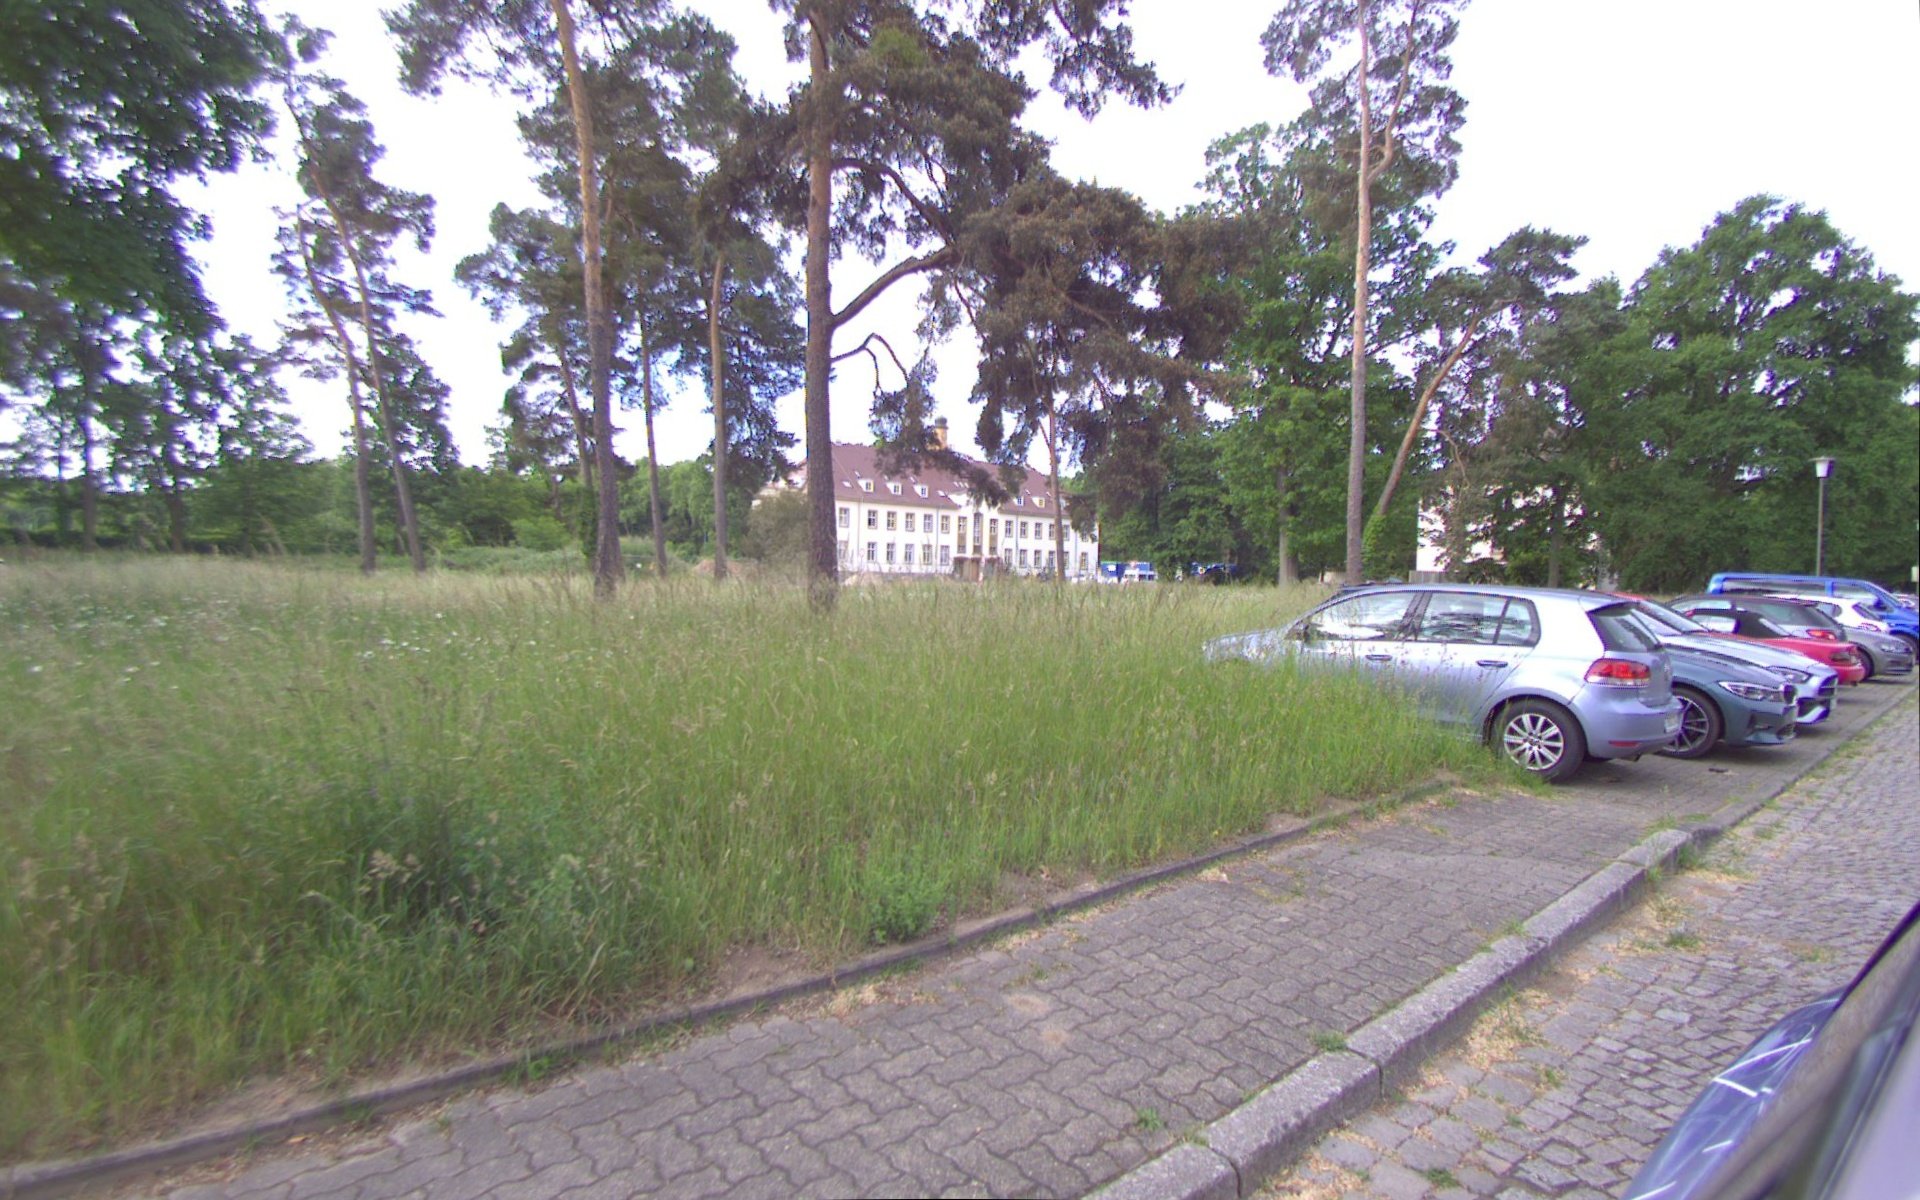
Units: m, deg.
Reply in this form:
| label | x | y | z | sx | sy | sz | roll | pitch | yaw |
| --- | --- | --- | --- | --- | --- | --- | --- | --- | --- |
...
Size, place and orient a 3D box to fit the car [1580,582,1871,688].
| label | x | y | z | sx | sy | sz | roll | pitch | yaw |
| --- | --- | --- | --- | --- | --- | --- | --- | --- | --- |
| car | 13.187 | 0.507 | 17.571 | 1.769 | 1.524 | 3.781 | 0 | 2 | -44 |

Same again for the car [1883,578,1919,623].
| label | x | y | z | sx | sy | sz | roll | pitch | yaw |
| --- | --- | --- | --- | --- | --- | --- | --- | --- | --- |
| car | 46.008 | 0.061 | 47.305 | 1.965 | 2.038 | 3.995 | 0 | 2 | -40 |

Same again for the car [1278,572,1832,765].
| label | x | y | z | sx | sy | sz | roll | pitch | yaw |
| --- | --- | --- | --- | --- | --- | --- | --- | --- | --- |
| car | 6.003 | 0.517 | 10.713 | 1.733 | 1.501 | 4.760 | 0 | 2 | -45 |

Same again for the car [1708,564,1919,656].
| label | x | y | z | sx | sy | sz | roll | pitch | yaw |
| --- | --- | --- | --- | --- | --- | --- | --- | --- | --- |
| car | 21.451 | 0.195 | 24.752 | 1.966 | 1.962 | 4.745 | 0 | 3 | -42 |

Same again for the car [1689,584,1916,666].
| label | x | y | z | sx | sy | sz | roll | pitch | yaw |
| --- | --- | --- | --- | --- | --- | --- | --- | --- | --- |
| car | 17.516 | 0.464 | 21.151 | 1.609 | 1.470 | 3.407 | 0 | 2 | -41 |

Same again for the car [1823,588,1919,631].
| label | x | y | z | sx | sy | sz | roll | pitch | yaw |
| --- | --- | --- | --- | --- | --- | --- | --- | --- | --- |
| car | 35.097 | 0.350 | 37.910 | 1.965 | 1.549 | 3.993 | 0 | 1 | -41 |

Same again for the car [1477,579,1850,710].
| label | x | y | z | sx | sy | sz | roll | pitch | yaw |
| --- | --- | --- | --- | --- | --- | --- | --- | --- | --- |
| car | 9.679 | 0.500 | 14.159 | 1.769 | 1.470 | 3.969 | 0 | 2 | -42 |

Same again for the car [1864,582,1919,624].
| label | x | y | z | sx | sy | sz | roll | pitch | yaw |
| --- | --- | --- | --- | --- | --- | --- | --- | --- | --- |
| car | 42.665 | 0.172 | 44.560 | 1.965 | 1.784 | 4.006 | 0 | 2 | -40 |

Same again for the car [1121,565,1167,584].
| label | x | y | z | sx | sy | sz | roll | pitch | yaw |
| --- | --- | --- | --- | --- | --- | --- | --- | --- | --- |
| car | 20.050 | -2.783 | 110.207 | 5.131 | 2.038 | 2.153 | 0 | 2 | -40 |

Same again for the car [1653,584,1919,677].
| label | x | y | z | sx | sy | sz | roll | pitch | yaw |
| --- | --- | --- | --- | --- | --- | --- | --- | --- | --- |
| car | 15.626 | 0.487 | 19.098 | 1.787 | 1.474 | 3.849 | 0 | 2 | -39 |

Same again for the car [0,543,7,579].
| label | x | y | z | sx | sy | sz | roll | pitch | yaw |
| --- | --- | --- | --- | --- | --- | --- | --- | --- | --- |
| car | -39.911 | -1.566 | 39.133 | 1.875 | 1.433 | 4.205 | 2 | 2 | 34 |

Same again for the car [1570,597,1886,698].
| label | x | y | z | sx | sy | sz | roll | pitch | yaw |
| --- | --- | --- | --- | --- | --- | --- | --- | --- | --- |
| car | 11.571 | 0.632 | 15.428 | 1.468 | 1.222 | 3.598 | 1 | 2 | -41 |

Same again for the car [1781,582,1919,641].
| label | x | y | z | sx | sy | sz | roll | pitch | yaw |
| --- | --- | --- | --- | --- | --- | --- | --- | --- | --- |
| car | 27.781 | 0.332 | 30.857 | 1.965 | 1.630 | 3.994 | 0 | 2 | -41 |

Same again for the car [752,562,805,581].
| label | x | y | z | sx | sy | sz | roll | pitch | yaw |
| --- | --- | --- | --- | --- | --- | --- | --- | --- | --- |
| car | -19.804 | -3.113 | 110.240 | 6.168 | 1.882 | 2.306 | 3 | 2 | 39 |

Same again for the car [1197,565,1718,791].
| label | x | y | z | sx | sy | sz | roll | pitch | yaw |
| --- | --- | --- | --- | --- | --- | --- | --- | --- | --- |
| car | 4.165 | 0.495 | 8.932 | 1.578 | 1.444 | 3.770 | 1 | 3 | -42 |

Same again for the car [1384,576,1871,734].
| label | x | y | z | sx | sy | sz | roll | pitch | yaw |
| --- | --- | --- | --- | --- | --- | --- | --- | --- | --- |
| car | 8.052 | 0.513 | 12.643 | 1.781 | 1.501 | 4.765 | 0 | 2 | -42 |
